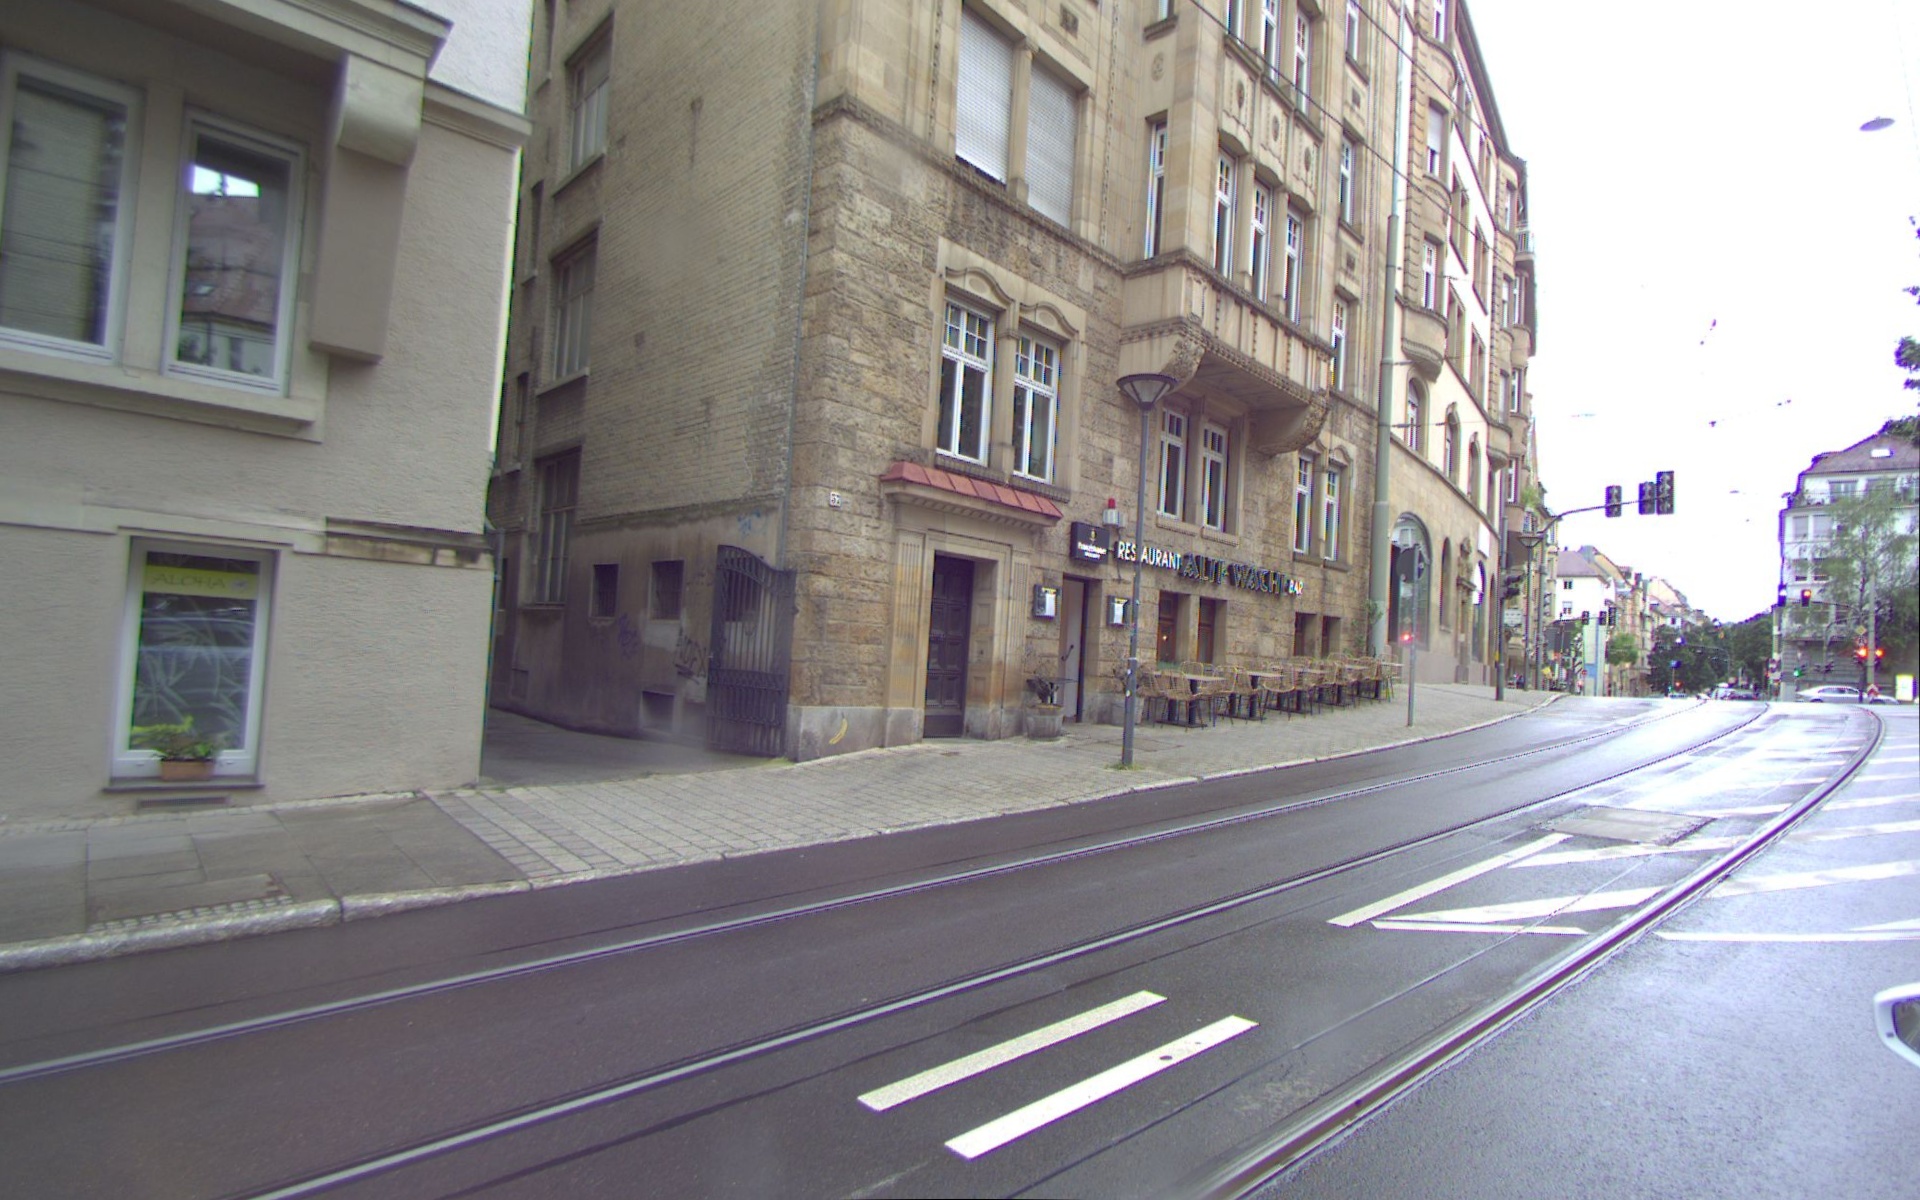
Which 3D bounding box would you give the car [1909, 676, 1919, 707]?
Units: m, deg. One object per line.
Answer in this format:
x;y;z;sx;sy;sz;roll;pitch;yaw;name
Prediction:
50.150;4.615;51.017;3.954;1.530;1.786;2;-4;-31;car

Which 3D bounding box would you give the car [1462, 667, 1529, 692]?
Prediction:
36.612;5.410;68.686;3.932;1.530;1.795;0;-2;33;car

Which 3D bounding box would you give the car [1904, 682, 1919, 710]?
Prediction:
61.163;5.966;62.374;3.930;1.635;1.796;1;-2;-12;car

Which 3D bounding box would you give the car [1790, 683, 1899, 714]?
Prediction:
51.705;5.738;58.833;4.591;1.530;1.794;-1;-2;37;car

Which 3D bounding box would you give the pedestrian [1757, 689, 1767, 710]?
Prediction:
67.692;8.406;84.746;0.640;1.683;0.647;1;-1;40;pedestrian

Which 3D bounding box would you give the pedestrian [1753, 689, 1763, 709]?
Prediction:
69.085;8.571;86.992;0.640;1.683;0.647;1;-1;40;pedestrian
